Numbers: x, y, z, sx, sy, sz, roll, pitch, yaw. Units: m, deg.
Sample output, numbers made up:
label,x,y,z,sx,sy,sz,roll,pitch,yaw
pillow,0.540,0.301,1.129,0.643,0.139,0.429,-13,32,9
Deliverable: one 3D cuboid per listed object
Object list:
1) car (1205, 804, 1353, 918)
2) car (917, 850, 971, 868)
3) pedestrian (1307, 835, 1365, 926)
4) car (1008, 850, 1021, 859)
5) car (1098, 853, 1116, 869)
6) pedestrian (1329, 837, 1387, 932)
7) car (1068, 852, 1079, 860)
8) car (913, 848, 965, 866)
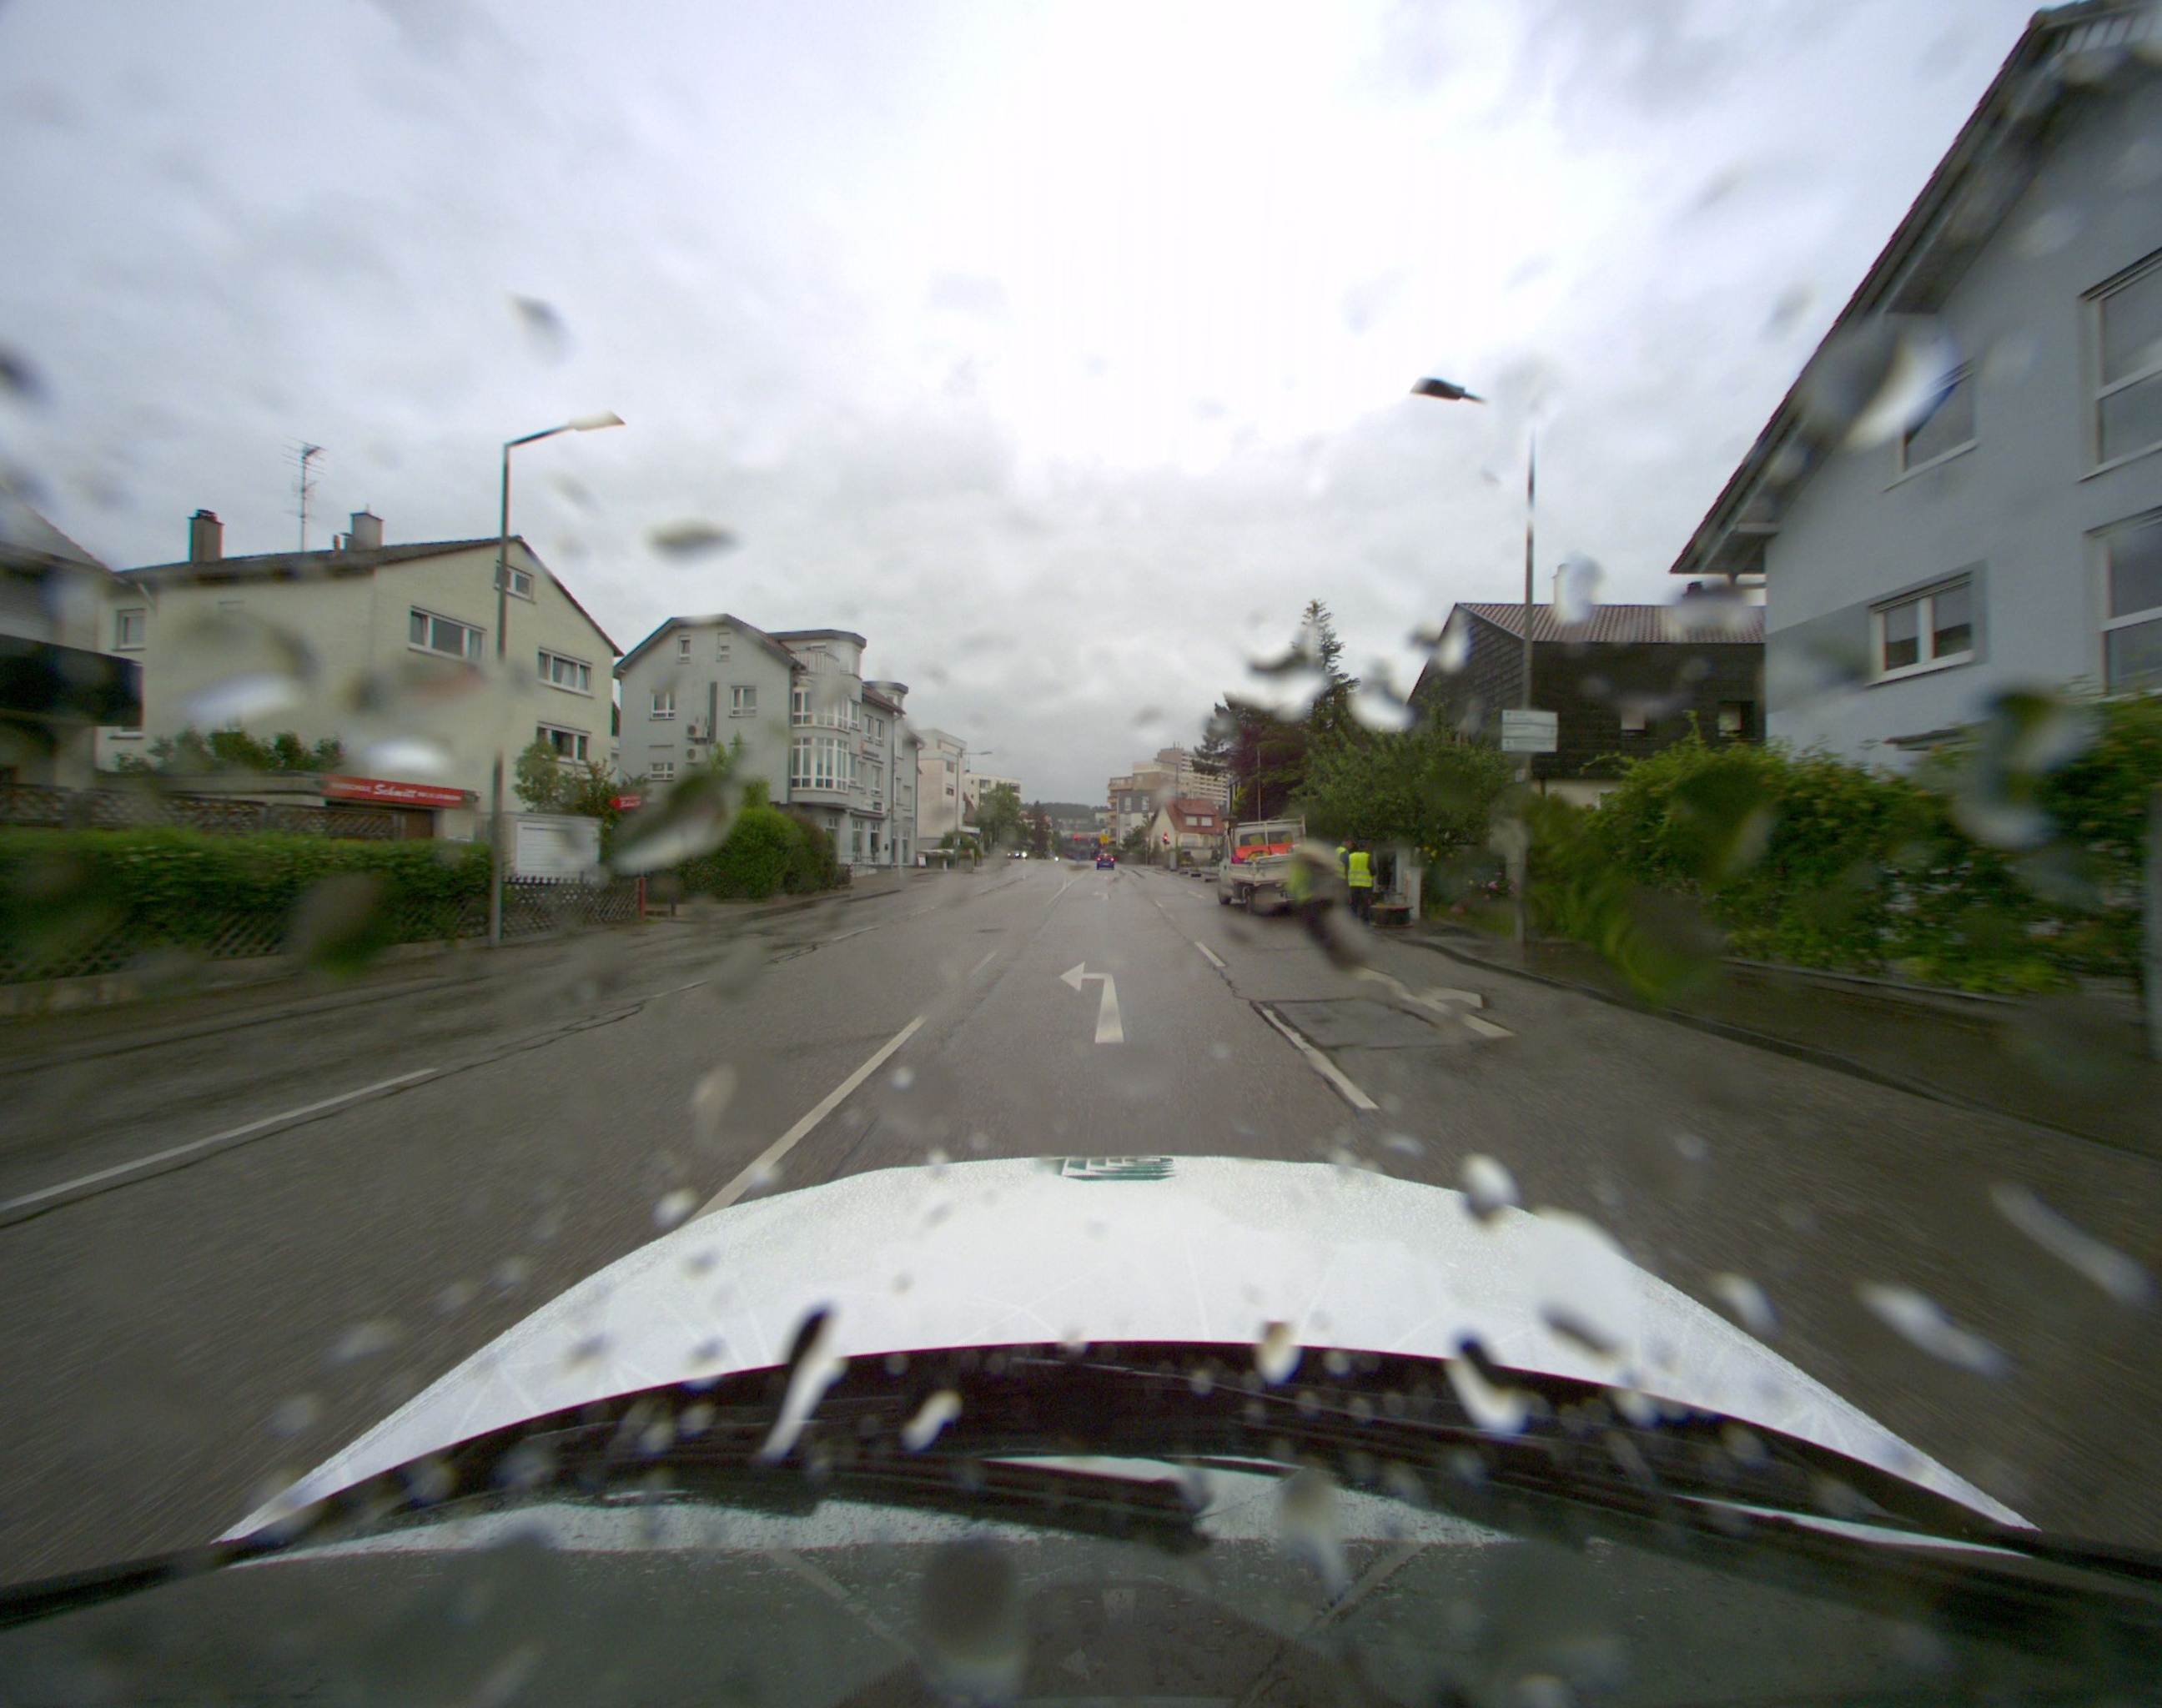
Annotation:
label,x,y,z,sx,sy,sz,roll,pitch,yaw
car,4.799,0.153,20.950,2.382,2.432,6.434,-1,0,1
car,-11.711,0.397,69.655,4.197,1.474,1.908,0,0,7
pedestrian,5.019,0.502,16.049,0.709,1.707,0.889,-2,0,-10
car,-10.892,0.033,133.255,1.772,1.420,3.832,1,0,1
car,2.381,0.639,75.082,1.573,1.410,3.272,1,0,2
pedestrian,5.104,0.545,15.033,0.575,1.663,0.941,-2,0,-10
car,-1.395,0.288,153.505,1.806,1.486,4.191,0,0,2
car,-13.475,0.299,77.238,4.421,1.637,1.945,0,0,11
